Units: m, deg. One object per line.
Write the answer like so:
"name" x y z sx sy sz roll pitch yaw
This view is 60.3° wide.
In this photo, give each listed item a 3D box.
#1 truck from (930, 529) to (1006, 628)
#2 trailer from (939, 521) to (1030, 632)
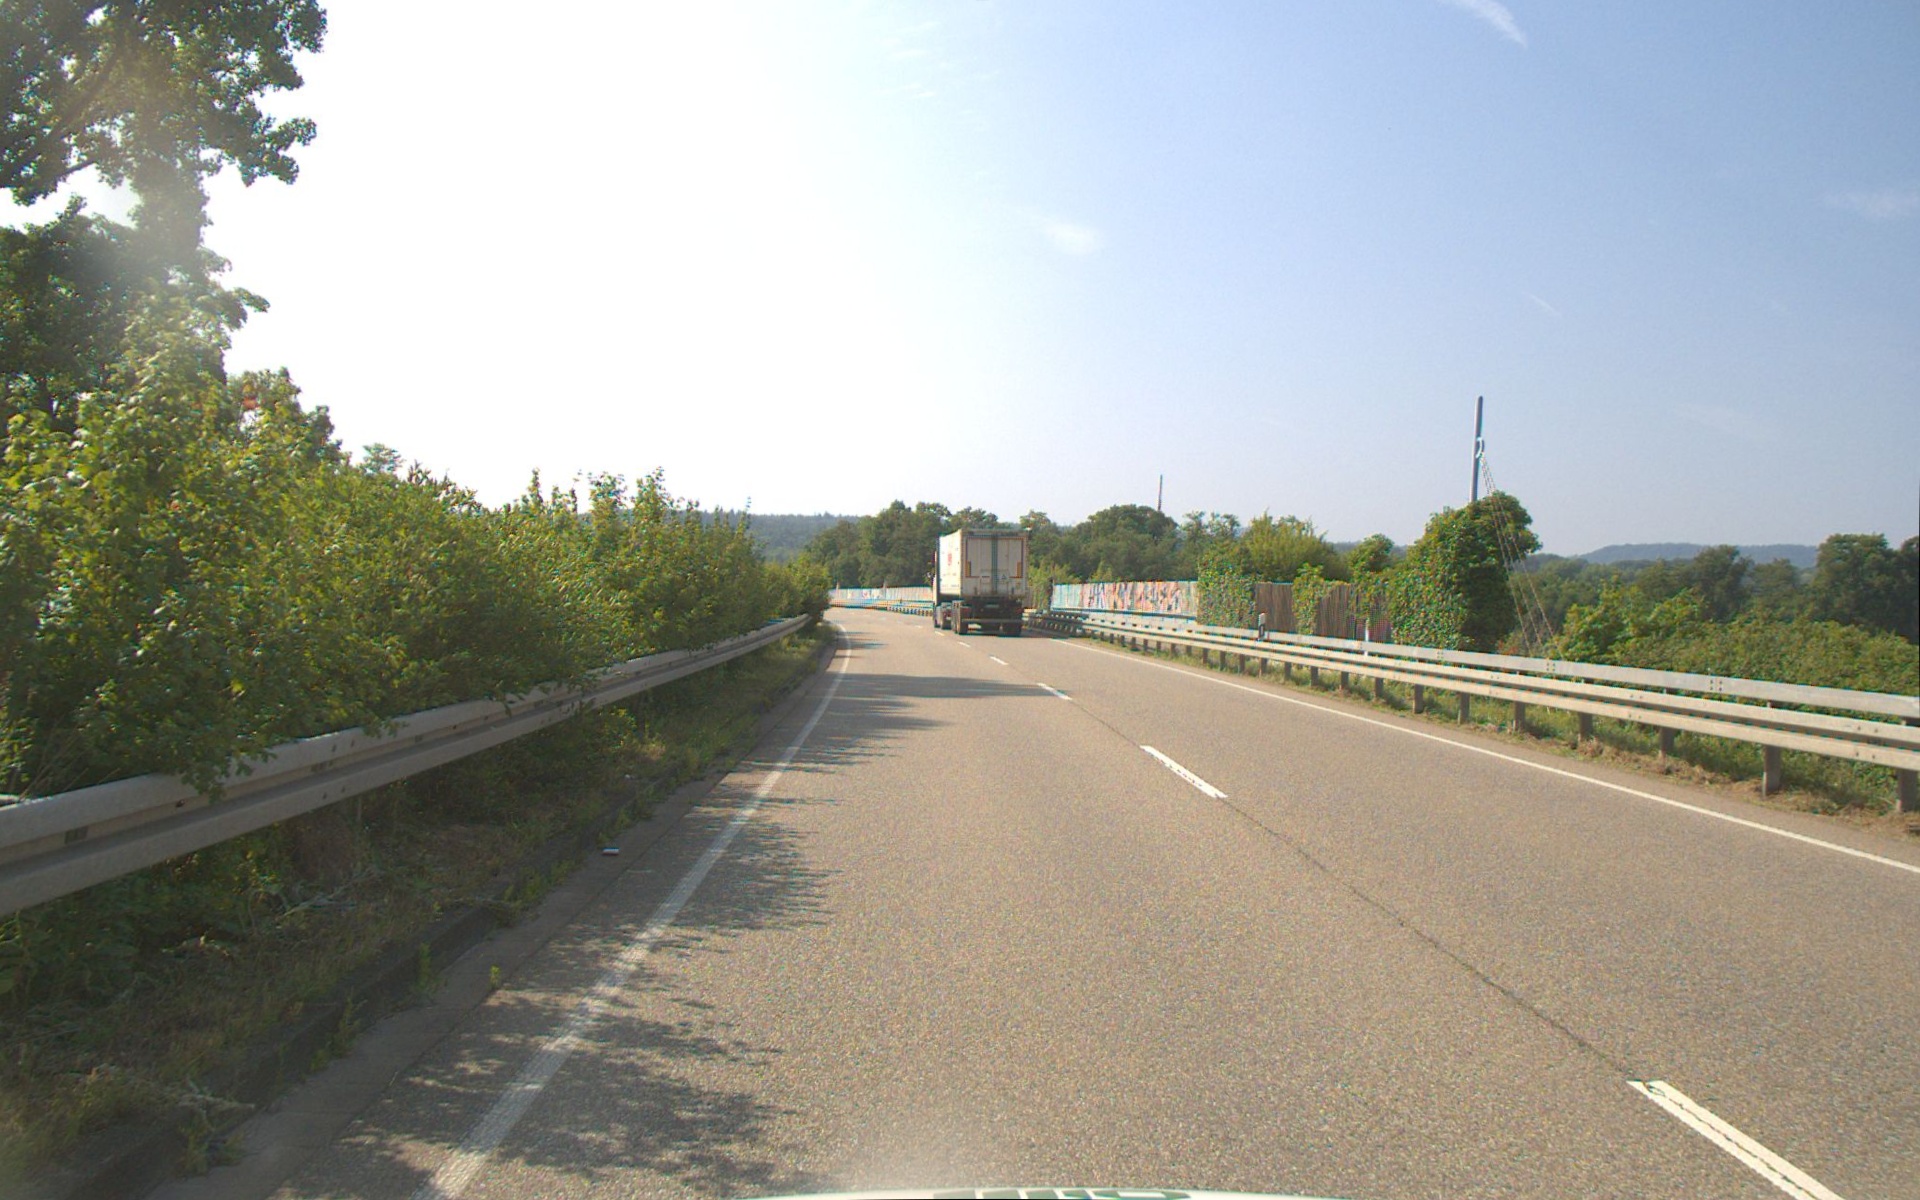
"truck" 0.278 -0.911 70.891 2.607 3.964 5.642 2 0 -5
"trailer" 0.829 -0.861 64.887 2.627 3.975 9.663 1 0 -5
